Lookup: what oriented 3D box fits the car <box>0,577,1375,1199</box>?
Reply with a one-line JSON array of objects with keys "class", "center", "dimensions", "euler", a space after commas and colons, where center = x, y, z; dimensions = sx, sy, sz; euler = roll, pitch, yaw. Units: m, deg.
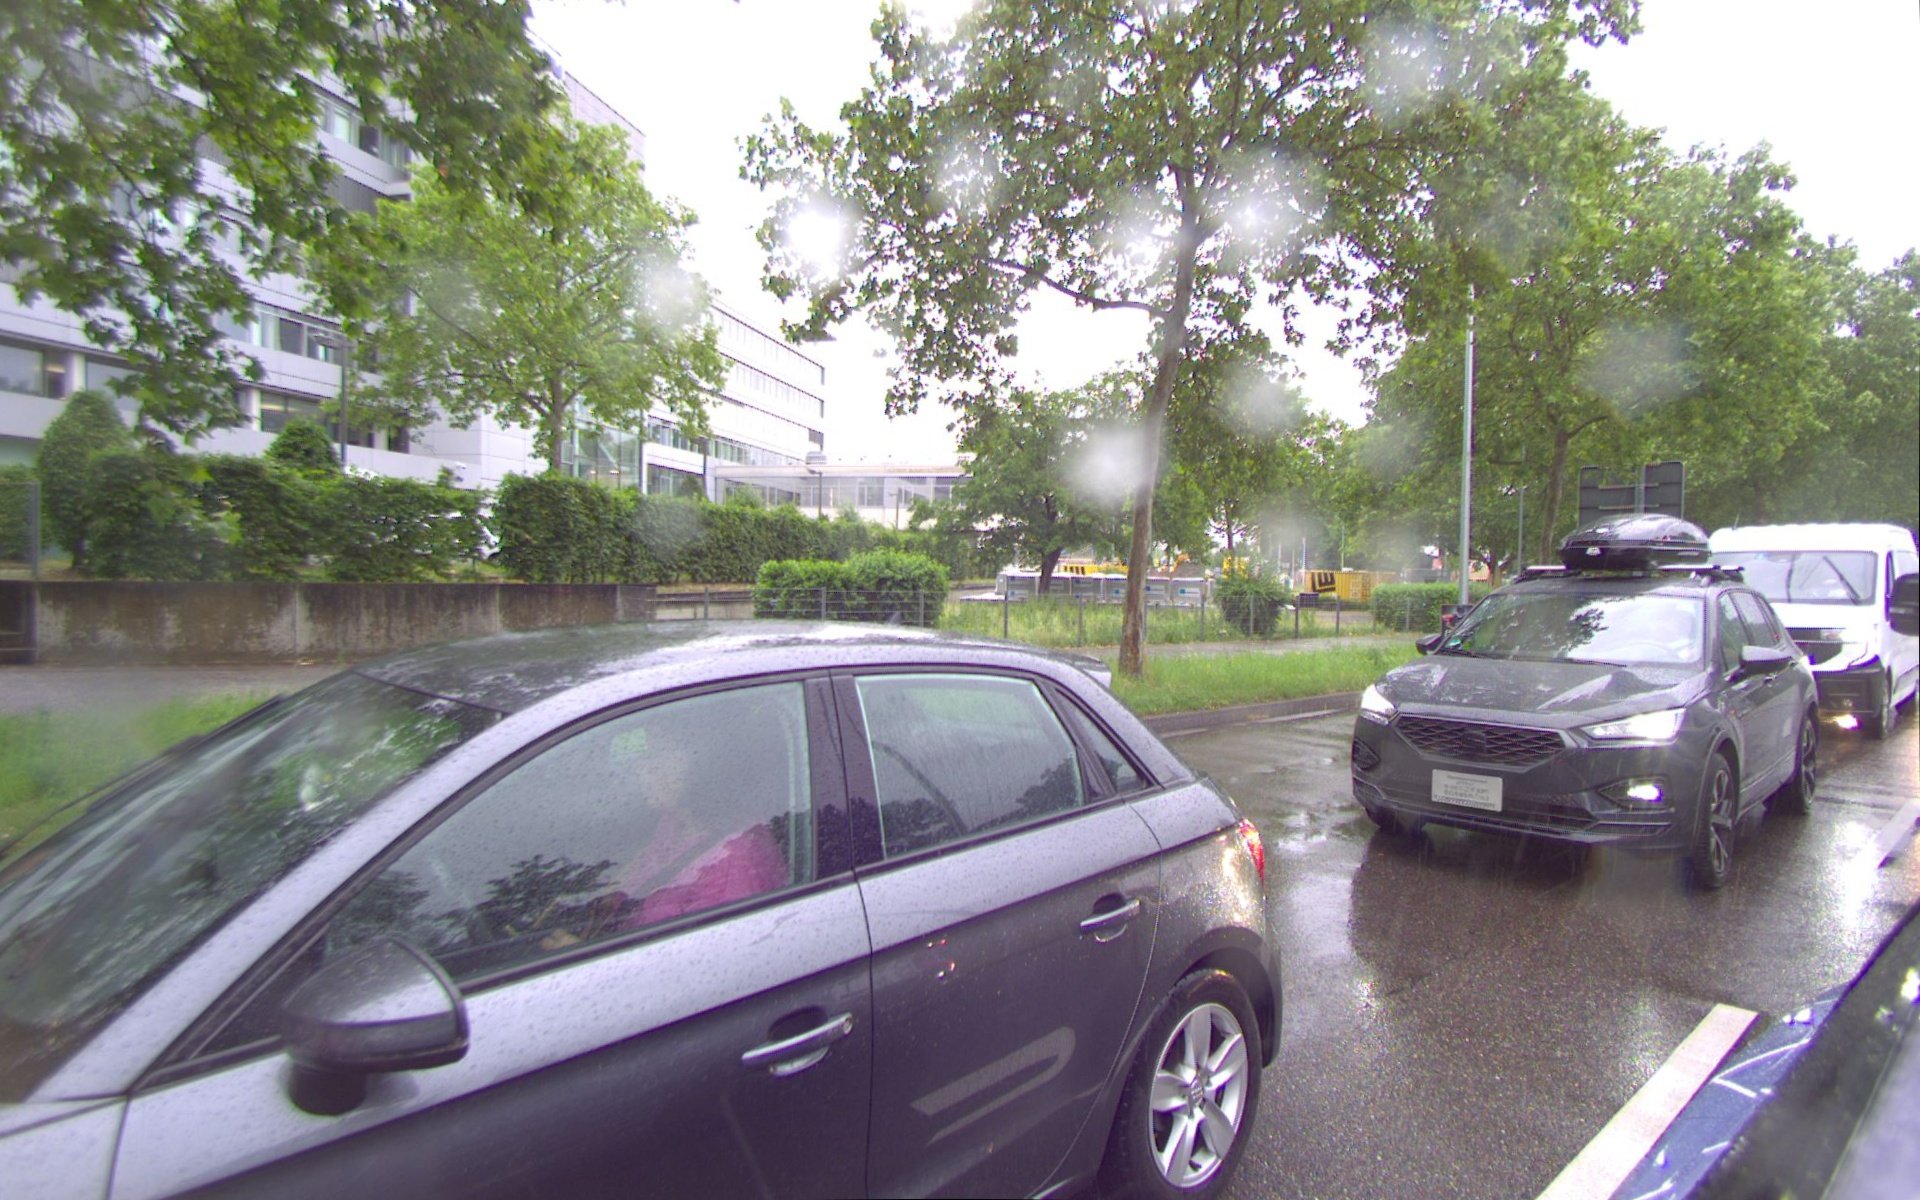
[{"class": "car", "center": [-0.800, 0.686, 2.213], "dimensions": [3.715, 1.446, 1.679], "euler": [0, 1, -41]}]

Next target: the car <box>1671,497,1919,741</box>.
[{"class": "car", "center": [10.777, 0.163, 12.739], "dimensions": [5.227, 2.476, 1.892], "euler": [0, 1, -43]}]

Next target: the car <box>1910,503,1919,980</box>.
[{"class": "car", "center": [6.328, 0.174, 4.963], "dimensions": [5.599, 2.544, 2.024], "euler": [0, 1, -43]}]

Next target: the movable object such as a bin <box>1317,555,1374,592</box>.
[{"class": "movable object such as a bin", "center": [36.387, -2.467, 95.658], "dimensions": [4.866, 3.478, 1.910], "euler": [0, 0, 15]}]

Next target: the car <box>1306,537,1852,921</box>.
[{"class": "car", "center": [4.290, 0.552, 6.690], "dimensions": [4.347, 1.719, 1.892], "euler": [0, 1, -42]}]

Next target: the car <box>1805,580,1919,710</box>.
[{"class": "car", "center": [15.790, 0.664, 17.051], "dimensions": [4.470, 1.937, 1.805], "euler": [0, 1, -43]}]
